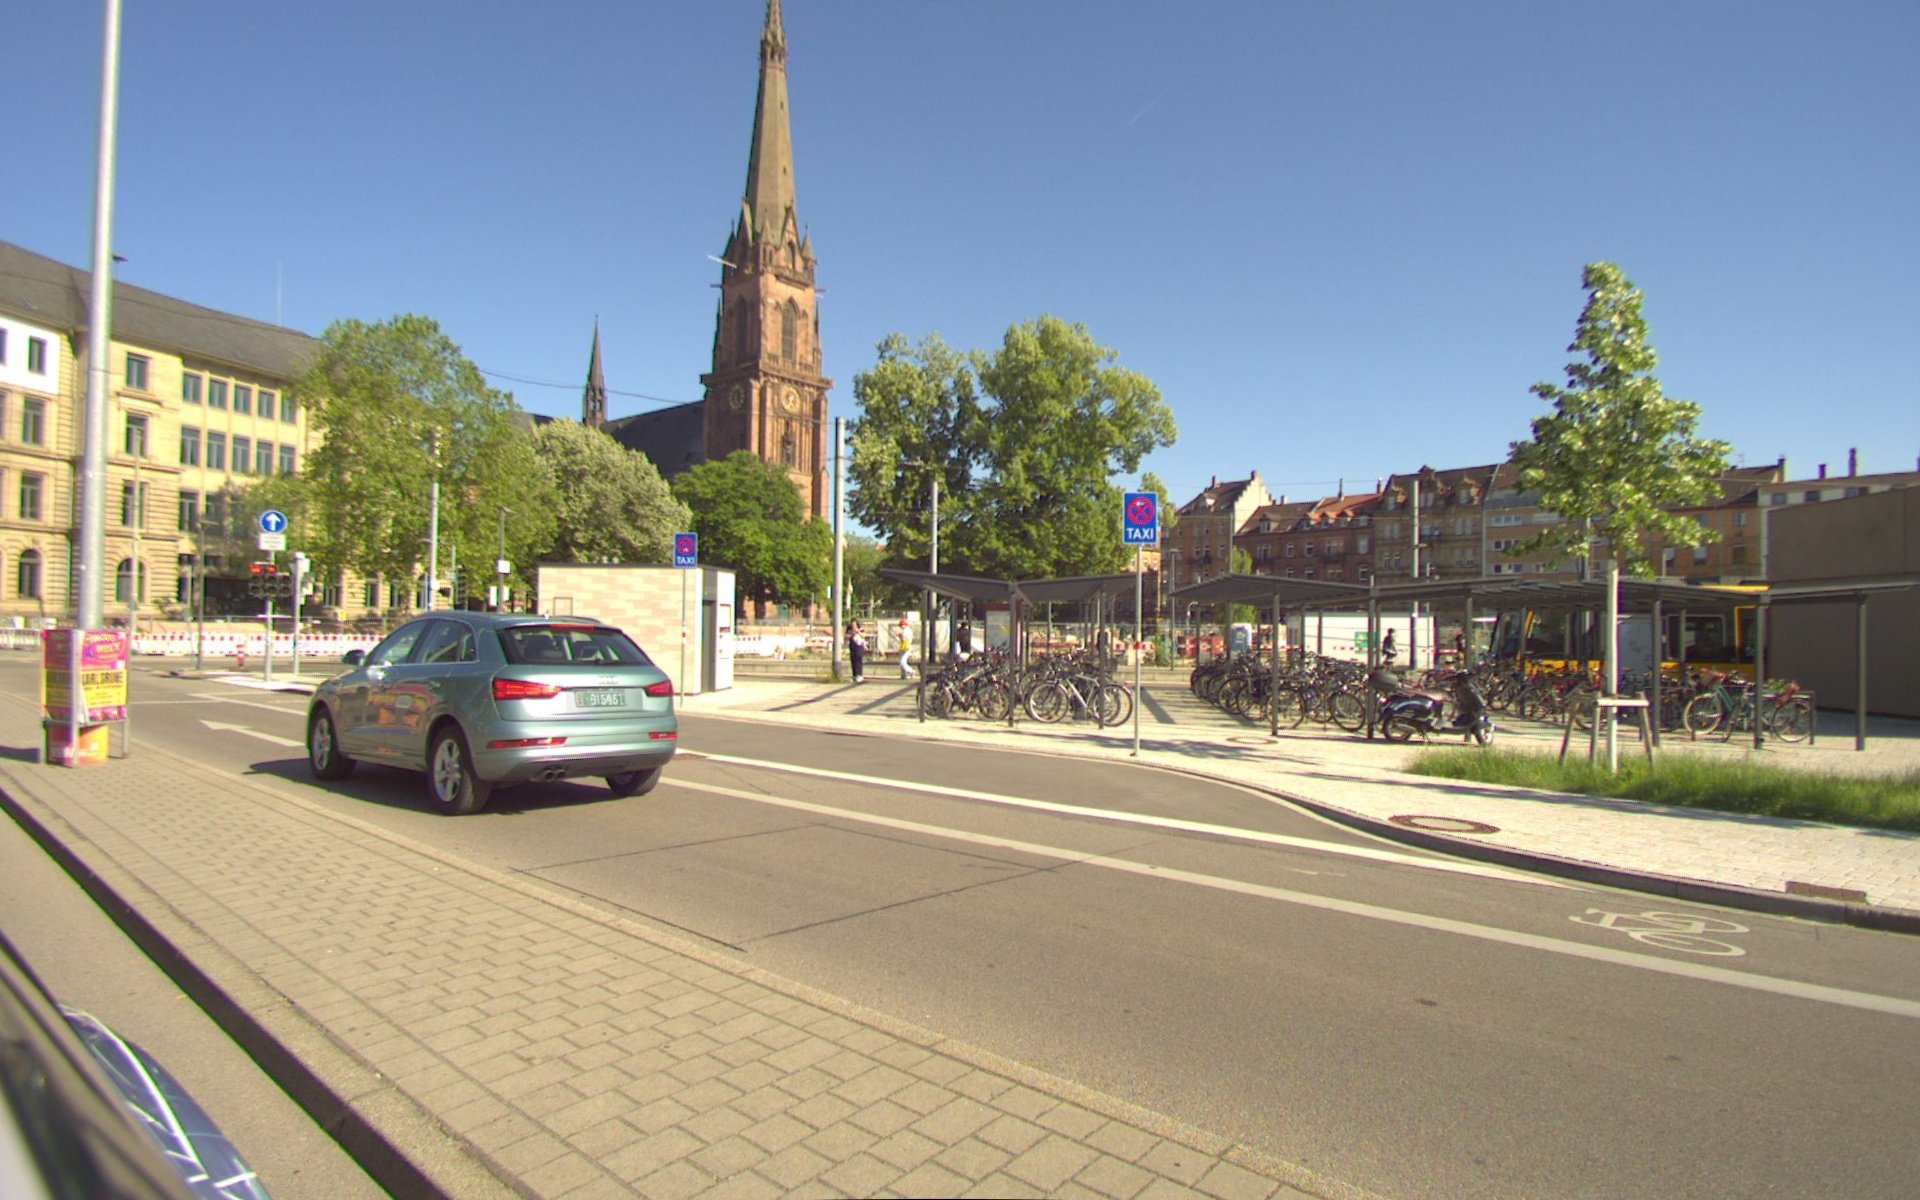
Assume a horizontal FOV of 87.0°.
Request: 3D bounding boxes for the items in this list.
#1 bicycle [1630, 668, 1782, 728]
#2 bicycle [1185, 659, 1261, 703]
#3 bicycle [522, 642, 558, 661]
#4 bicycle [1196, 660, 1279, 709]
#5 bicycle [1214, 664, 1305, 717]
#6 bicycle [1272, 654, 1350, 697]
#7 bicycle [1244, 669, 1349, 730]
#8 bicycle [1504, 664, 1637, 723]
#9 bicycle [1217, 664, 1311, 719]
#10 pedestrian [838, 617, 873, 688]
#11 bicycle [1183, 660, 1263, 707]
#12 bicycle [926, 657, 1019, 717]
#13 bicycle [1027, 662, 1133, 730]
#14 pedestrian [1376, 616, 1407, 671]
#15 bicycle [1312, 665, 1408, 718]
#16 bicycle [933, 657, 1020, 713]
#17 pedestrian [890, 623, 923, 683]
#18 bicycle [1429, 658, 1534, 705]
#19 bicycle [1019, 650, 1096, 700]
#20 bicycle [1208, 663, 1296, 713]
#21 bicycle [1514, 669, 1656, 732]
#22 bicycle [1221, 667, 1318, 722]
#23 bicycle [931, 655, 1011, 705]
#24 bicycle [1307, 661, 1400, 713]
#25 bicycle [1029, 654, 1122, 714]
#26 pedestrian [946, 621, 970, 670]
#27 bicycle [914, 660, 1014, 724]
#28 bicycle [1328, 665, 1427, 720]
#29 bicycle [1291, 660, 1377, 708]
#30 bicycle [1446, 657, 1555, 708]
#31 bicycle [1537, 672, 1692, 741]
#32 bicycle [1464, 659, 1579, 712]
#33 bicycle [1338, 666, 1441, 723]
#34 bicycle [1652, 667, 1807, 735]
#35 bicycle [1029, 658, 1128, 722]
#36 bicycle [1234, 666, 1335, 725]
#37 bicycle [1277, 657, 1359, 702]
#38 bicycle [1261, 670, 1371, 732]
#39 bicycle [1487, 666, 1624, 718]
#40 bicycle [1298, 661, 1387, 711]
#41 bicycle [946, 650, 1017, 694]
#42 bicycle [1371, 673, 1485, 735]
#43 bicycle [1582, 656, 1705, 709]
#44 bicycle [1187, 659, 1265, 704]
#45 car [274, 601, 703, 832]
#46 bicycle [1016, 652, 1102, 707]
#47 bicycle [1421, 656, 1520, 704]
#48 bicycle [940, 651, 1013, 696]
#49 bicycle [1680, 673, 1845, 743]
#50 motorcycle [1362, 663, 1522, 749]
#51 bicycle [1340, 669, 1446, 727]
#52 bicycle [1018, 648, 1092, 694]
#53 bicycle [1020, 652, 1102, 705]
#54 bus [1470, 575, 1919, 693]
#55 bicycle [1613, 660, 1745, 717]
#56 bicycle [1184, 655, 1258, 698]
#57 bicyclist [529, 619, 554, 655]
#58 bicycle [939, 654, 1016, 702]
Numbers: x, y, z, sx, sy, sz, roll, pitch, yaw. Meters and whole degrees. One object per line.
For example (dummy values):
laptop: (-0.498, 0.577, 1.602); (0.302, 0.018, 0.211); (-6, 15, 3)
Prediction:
bicycle: (13.478, 1.764, 18.334); (2.117, 1.005, 0.690); (-1, 0, 7)
bicycle: (6.136, 1.882, 23.629); (1.661, 0.980, 0.406); (1, -5, 3)
bicycle: (-18.822, 2.286, 45.404); (0.731, 0.788, 2.051); (0, -2, 1)
bicycle: (5.924, 1.807, 21.644); (1.661, 0.980, 0.406); (1, -5, 3)
bicycle: (5.900, 1.782, 19.963); (1.661, 0.980, 0.406); (1, 0, 3)
bicycle: (8.290, 1.786, 23.919); (1.661, 0.980, 0.406); (-1, 0, 3)
bicycle: (5.793, 1.711, 17.467); (1.661, 0.980, 0.406); (1, 0, 3)
bicycle: (11.321, 1.734, 18.817); (2.048, 1.045, 0.533); (-1, 0, 8)
bicycle: (5.813, 1.738, 19.380); (1.661, 0.980, 0.406); (1, 0, 3)
pedestrian: (-2.814, 1.387, 27.221); (0.691, 1.874, 0.621); (2, -2, -41)
bicycle: (5.785, 1.838, 22.301); (1.661, 0.980, 0.406); (1, -5, 3)
bicycle: (0.230, 1.598, 18.606); (1.663, 1.006, 0.406); (2, 0, 8)
bicycle: (2.021, 1.607, 17.097); (1.753, 1.083, 0.406); (1, -3, 6)
pedestrian: (15.349, 1.542, 36.002); (0.793, 1.931, 0.769); (0, -2, 4)
bicycle: (7.715, 1.764, 19.534); (1.661, 0.980, 0.406); (-1, 0, 3)
bicycle: (0.327, 1.665, 19.949); (1.663, 1.006, 0.406); (2, 0, 8)
pedestrian: (-1.455, 1.448, 27.794); (0.698, 1.635, 0.615); (0, -2, 24)
bicycle: (12.030, 1.880, 23.379); (2.048, 1.045, 0.533); (-1, -4, 8)
bicycle: (2.271, 1.732, 23.503); (1.755, 1.083, 0.406); (1, 0, 6)
bicycle: (5.924, 1.786, 20.569); (1.661, 0.980, 0.406); (1, -5, 3)
bicycle: (10.873, 1.740, 17.658); (2.048, 1.045, 0.533); (-1, 0, 8)
bicycle: (5.727, 1.751, 18.773); (1.661, 0.980, 0.406); (-1, 0, 3)
bicycle: (0.228, 1.677, 21.408); (1.663, 1.006, 0.406); (0, 0, 8)
bicycle: (7.856, 1.731, 20.233); (1.661, 0.980, 0.406); (-1, 0, 3)
bicycle: (2.234, 1.621, 19.587); (1.755, 1.083, 0.406); (1, 0, 6)
pedestrian: (-0.061, 1.731, 38.947); (0.610, 1.874, 0.703); (2, -2, -39)
bicycle: (0.066, 1.575, 17.387); (1.663, 1.006, 0.406); (2, 0, 8)
bicycle: (7.841, 1.732, 19.018); (1.661, 0.980, 0.406); (-1, 0, 3)
bicycle: (7.987, 1.791, 21.628); (1.661, 0.980, 0.406); (-1, 0, 3)
bicycle: (11.864, 1.802, 22.260); (2.048, 1.045, 0.533); (-1, 2, 8)
bicycle: (10.571, 1.712, 16.394); (2.048, 1.045, 0.533); (-1, 0, 8)
bicycle: (11.775, 1.796, 21.269); (2.048, 1.045, 0.533); (-1, 2, 8)
bicycle: (7.822, 1.724, 18.464); (1.661, 0.980, 0.406); (-1, 0, 3)
bicycle: (12.988, 1.697, 17.120); (2.030, 1.087, 0.604); (-1, 0, 7)
bicycle: (2.138, 1.618, 18.341); (1.753, 1.083, 0.406); (1, 0, 6)
bicycle: (5.814, 1.710, 18.193); (1.661, 0.980, 0.406); (1, 0, 3)
bicycle: (8.072, 1.789, 22.843); (1.661, 0.980, 0.406); (-1, 0, 3)
bicycle: (5.932, 1.686, 16.894); (1.661, 0.980, 0.406); (-1, 0, 3)
bicycle: (11.613, 1.799, 19.795); (2.208, 0.951, 0.685); (-1, 0, 7)
bicycle: (7.860, 1.762, 20.830); (1.661, 0.980, 0.406); (-1, 0, 3)
bicycle: (0.516, 1.703, 24.192); (1.663, 1.006, 0.406); (0, 0, 8)
bicycle: (7.767, 1.725, 16.826); (1.661, 0.980, 0.406); (-1, 0, 3)
bicycle: (14.077, 1.697, 20.882); (2.048, 1.045, 0.533); (-1, 0, 8)
bicycle: (6.052, 1.861, 23.056); (1.661, 0.980, 0.406); (1, -5, 3)
car: (-4.359, 0.883, 9.069); (4.253, 1.594, 1.770); (-1, -4, 39)
bicycle: (2.051, 1.644, 20.977); (1.755, 1.083, 0.406); (1, 0, 6)
bicycle: (12.299, 1.920, 24.434); (2.048, 1.045, 0.533); (1, 3, 8)
bicycle: (0.392, 1.703, 23.666); (1.663, 1.006, 0.406); (0, 0, 8)
bicycle: (12.766, 1.716, 16.142); (2.048, 1.045, 0.533); (-1, 0, 8)
motorcycle: (7.192, 1.571, 15.164); (2.059, 1.228, 0.569); (-1, -2, 3)
bicycle: (7.642, 1.726, 17.897); (1.661, 0.980, 0.406); (-1, 0, 3)
bicycle: (2.313, 1.725, 24.682); (1.755, 1.083, 0.406); (1, 0, 6)
bicycle: (2.192, 1.695, 22.033); (1.755, 1.083, 0.406); (1, 0, 6)
bus: (22.108, 0.935, 28.634); (13.462, 3.095, 2.859); (0, -2, 6)
bicycle: (13.851, 1.701, 19.530); (2.048, 1.045, 0.533); (-1, 0, 8)
bicycle: (6.255, 1.837, 24.316); (1.661, 0.980, 0.406); (1, -5, 3)
bicyclist: (-18.802, 1.671, 45.509); (0.731, 1.583, 0.885); (0, -2, 2)
bicycle: (0.383, 1.706, 22.289); (1.663, 1.006, 0.406); (0, 0, 8)
